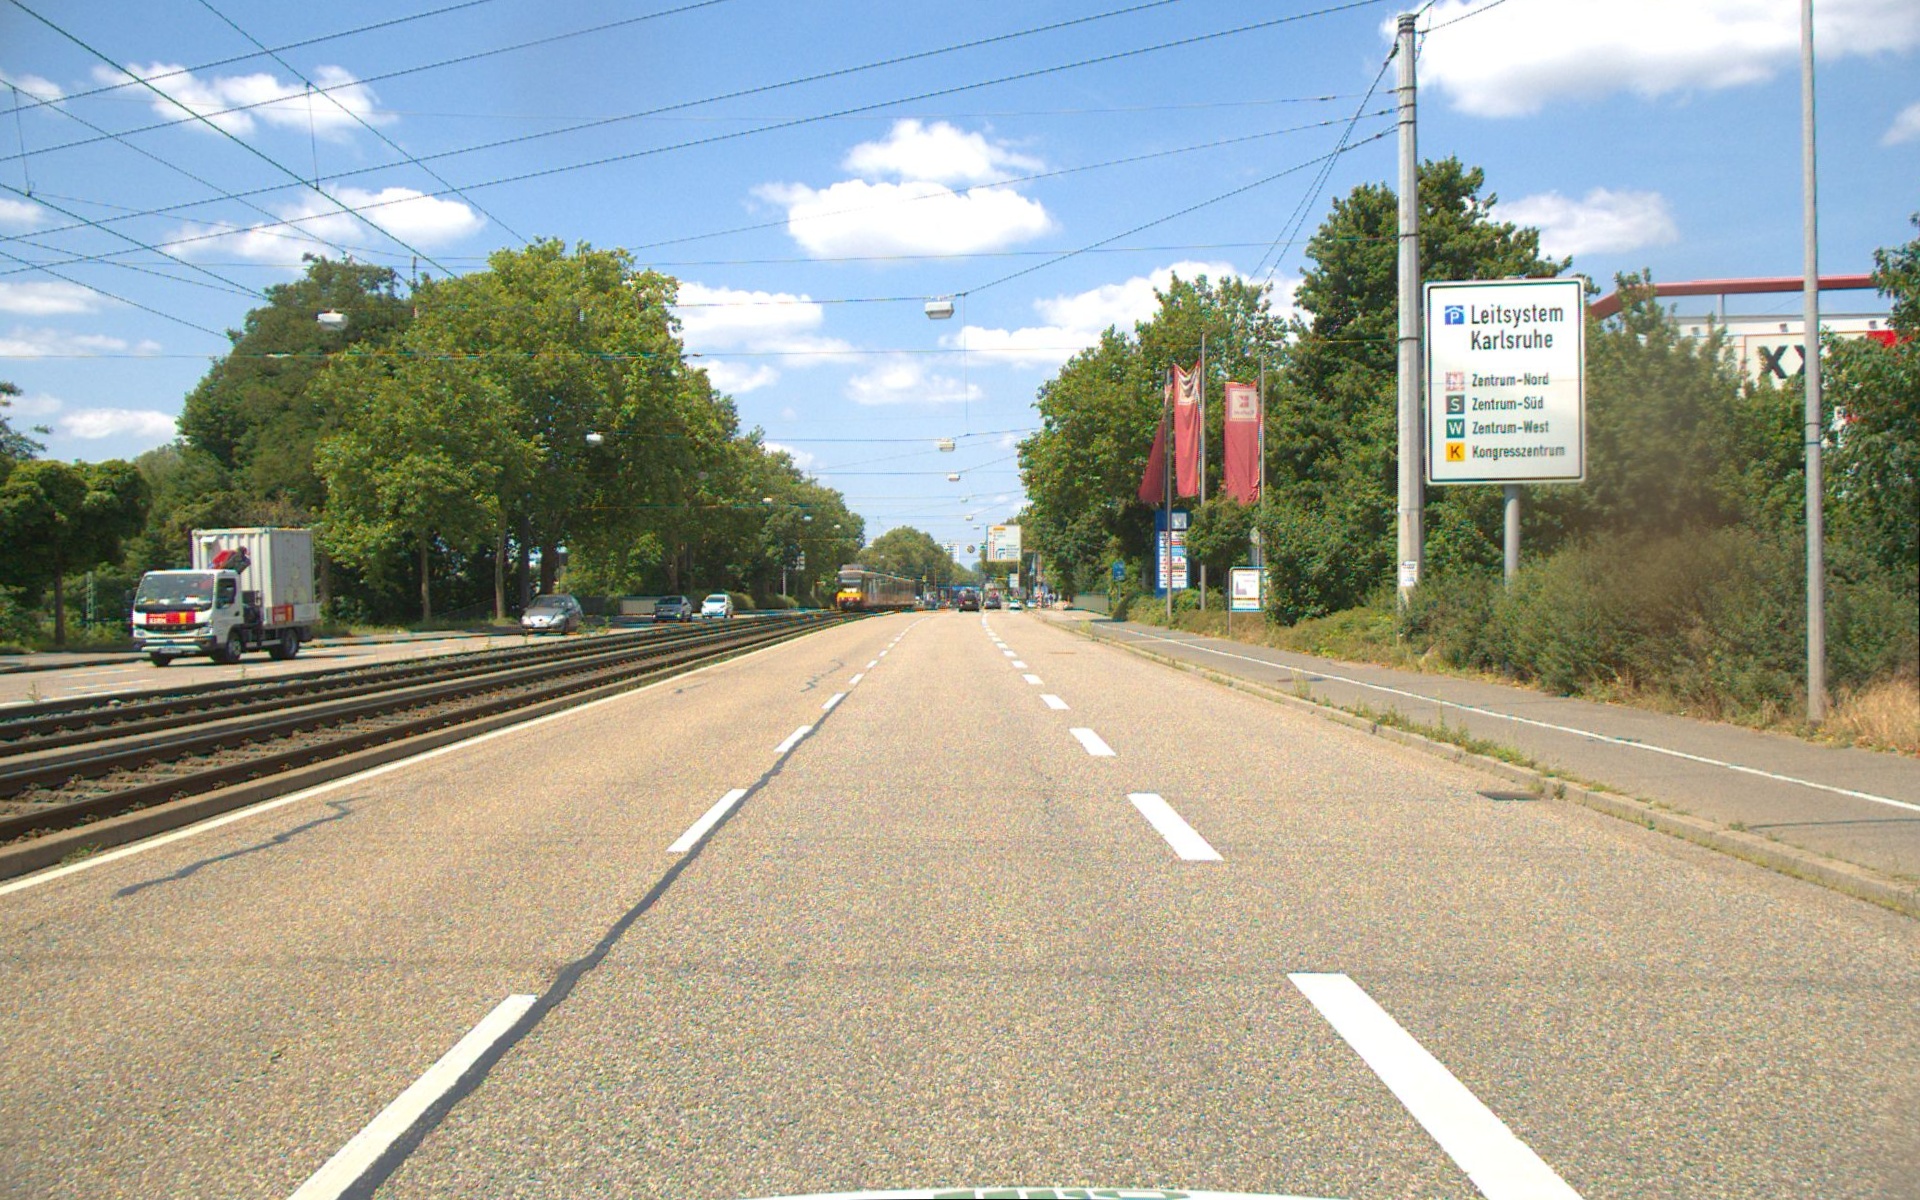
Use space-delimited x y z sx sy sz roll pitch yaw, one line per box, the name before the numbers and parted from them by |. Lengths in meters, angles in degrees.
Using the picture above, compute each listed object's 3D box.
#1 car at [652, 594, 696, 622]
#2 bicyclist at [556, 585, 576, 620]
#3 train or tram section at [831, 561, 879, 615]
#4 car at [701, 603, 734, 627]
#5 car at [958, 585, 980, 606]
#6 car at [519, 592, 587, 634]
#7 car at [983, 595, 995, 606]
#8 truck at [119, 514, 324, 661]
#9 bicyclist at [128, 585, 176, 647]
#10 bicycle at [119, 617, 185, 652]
car | -15.536 0.426 90.064 1.603 1.446 4.127 -1 0 0
bicyclist | -19.185 0.124 80.581 0.609 1.645 1.062 2 0 5
train or tram section | -8.972 -1.006 143.356 2.985 4.342 15.424 0 0 1
car | -15.690 0.960 106.945 1.603 1.461 3.720 -2 0 -1
car | 0.753 -0.377 145.679 1.861 1.837 3.976 2 0 -1
car | -15.803 0.474 64.382 1.717 1.562 3.956 -1 0 -1
car | 4.525 0.080 258.991 1.838 1.566 3.776 2 0 -1
truck | -17.889 -0.295 40.474 2.203 3.293 6.042 0 0 1
bicyclist | -21.788 0.418 44.629 0.637 1.648 1.156 1 0 3
bicycle | -21.798 0.932 44.667 0.637 0.874 2.121 1 0 3
